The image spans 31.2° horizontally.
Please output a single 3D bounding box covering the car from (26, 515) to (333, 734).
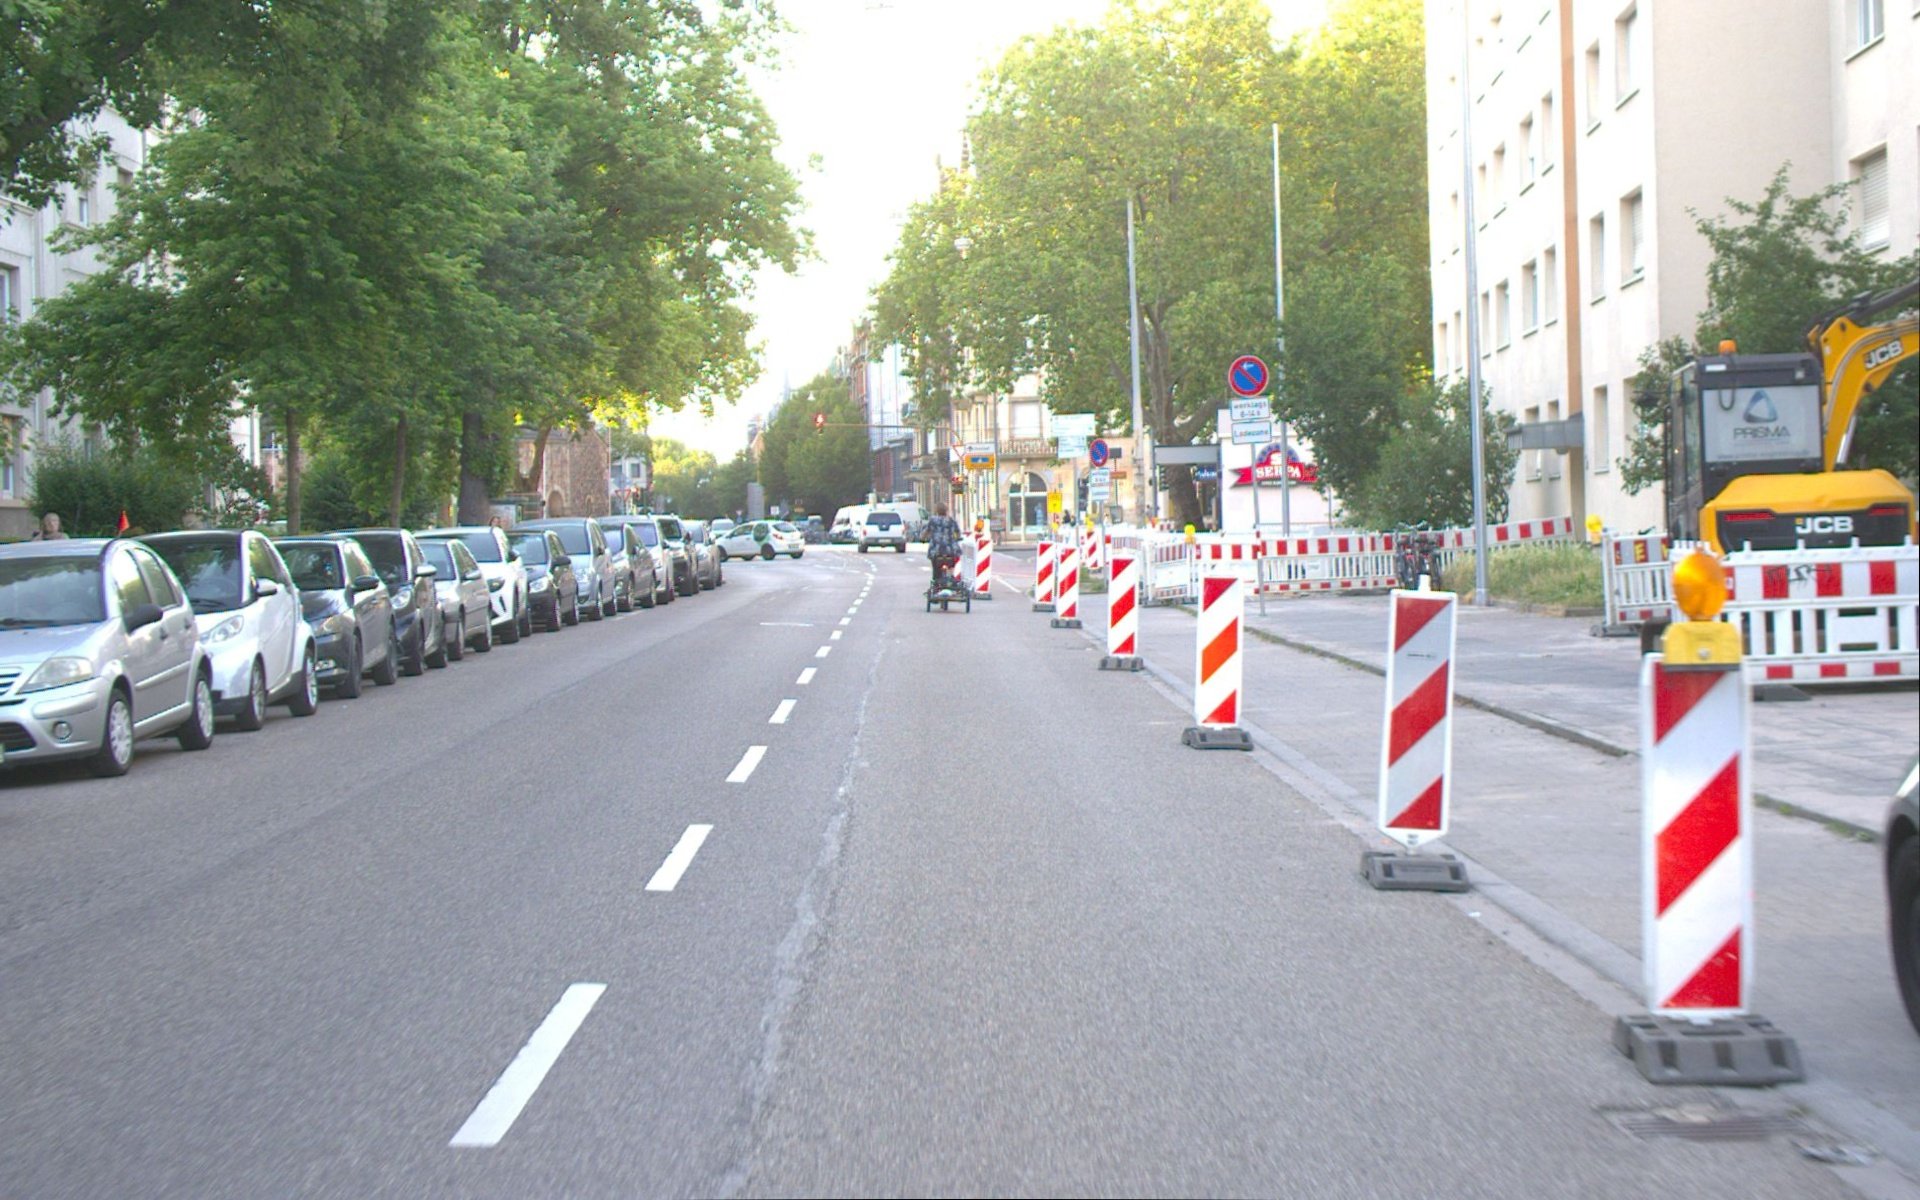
[{"bbox_3d":[-6.086,0.151,27.107,1.590,1.524,2.921,-4,1,1],"label":"car"}]

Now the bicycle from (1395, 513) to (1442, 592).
[{"bbox_3d":[7.258,-0.766,54.485,0.398,1.217,1.911,-1,1,-3],"label":"bicycle"}]

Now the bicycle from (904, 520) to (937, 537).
[{"bbox_3d":[-2.281,-4.172,199.758,1.914,0.965,0.546,-1,1,-2],"label":"bicycle"}]

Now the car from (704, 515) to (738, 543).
[{"bbox_3d":[-14.631,-4.333,210.402,1.781,1.645,3.822,0,1,-9],"label":"car"}]

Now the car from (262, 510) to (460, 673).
[{"bbox_3d":[-6.223,-0.119,35.978,1.523,1.524,3.165,-4,1,-2],"label":"car"}]

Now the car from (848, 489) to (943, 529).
[{"bbox_3d":[-3.835,-5.470,205.959,5.807,2.280,2.071,-2,2,-43],"label":"car"}]

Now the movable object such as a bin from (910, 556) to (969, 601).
[{"bbox_3d":[-0.336,-0.358,57.338,0.939,0.686,0.993,-4,1,1],"label":"movable object such as a bin"}]

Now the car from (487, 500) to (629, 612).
[{"bbox_3d":[-6.311,-0.718,54.303,1.707,1.595,4.117,-4,1,-1],"label":"car"}]

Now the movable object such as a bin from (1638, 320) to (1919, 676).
[{"bbox_3d":[6.634,-0.813,27.630,1.933,2.683,2.891,-1,1,4],"label":"movable object such as a bin"}]

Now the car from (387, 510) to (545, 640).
[{"bbox_3d":[-6.495,-0.356,45.531,1.590,1.533,4.207,-4,1,-3],"label":"car"}]

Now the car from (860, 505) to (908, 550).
[{"bbox_3d":[-3.191,-3.040,143.718,1.866,1.808,4.001,-2,1,-2],"label":"car"}]

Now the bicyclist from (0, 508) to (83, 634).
[{"bbox_3d":[-10.384,-0.332,38.644,0.808,1.399,0.974,0,1,-1],"label":"bicyclist"}]

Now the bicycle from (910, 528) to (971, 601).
[{"bbox_3d":[-0.318,-0.625,59.011,0.939,1.168,2.359,-4,1,1],"label":"bicycle"}]

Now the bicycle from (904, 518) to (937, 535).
[{"bbox_3d":[-2.308,-4.283,199.559,1.914,0.965,0.546,-1,1,-2],"label":"bicycle"}]

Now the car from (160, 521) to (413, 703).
[{"bbox_3d":[-6.133,0.055,31.708,1.590,1.461,4.103,-4,1,-2],"label":"car"}]

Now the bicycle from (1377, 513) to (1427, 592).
[{"bbox_3d":[6.984,-0.766,54.393,0.451,1.217,1.911,-1,1,-3],"label":"bicycle"}]

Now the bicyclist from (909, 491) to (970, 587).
[{"bbox_3d":[-0.345,-1.052,59.024,0.939,1.576,1.146,-4,1,1],"label":"bicyclist"}]

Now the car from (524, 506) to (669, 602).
[{"bbox_3d":[-6.211,-0.817,59.145,1.733,1.492,4.270,-3,1,4],"label":"car"}]

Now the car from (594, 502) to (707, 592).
[{"bbox_3d":[-6.434,-1.132,71.857,1.953,1.713,4.772,-3,1,-1],"label":"car"}]

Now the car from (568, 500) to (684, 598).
[{"bbox_3d":[-6.232,-0.979,64.604,1.846,1.685,4.860,-3,1,-2],"label":"car"}]

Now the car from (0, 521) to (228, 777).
[{"bbox_3d":[-6.035,0.288,22.607,1.590,1.500,3.800,-4,1,-1],"label":"car"}]

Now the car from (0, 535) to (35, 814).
[{"bbox_3d":[-5.869,0.482,16.370,1.692,1.454,4.484,-4,1,-1],"label":"car"}]

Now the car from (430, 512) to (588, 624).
[{"bbox_3d":[-6.509,-0.489,49.925,1.707,1.447,3.843,-4,1,0],"label":"car"}]

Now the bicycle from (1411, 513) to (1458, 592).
[{"bbox_3d":[7.510,-0.763,54.419,0.398,1.217,1.826,-1,1,-3],"label":"bicycle"}]

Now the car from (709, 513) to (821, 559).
[{"bbox_3d":[-7.365,-2.418,129.685,3.996,1.580,1.868,-1,2,40],"label":"car"}]

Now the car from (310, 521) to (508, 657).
[{"bbox_3d":[-6.374,-0.168,40.126,1.590,1.399,4.181,-4,1,-1],"label":"car"}]

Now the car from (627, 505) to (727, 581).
[{"bbox_3d":[-6.525,-1.337,79.695,1.953,1.611,4.606,-3,1,-1],"label":"car"}]

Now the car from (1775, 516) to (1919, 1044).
[{"bbox_3d":[3.597,0.484,8.793,1.776,1.485,4.574,-5,1,-1],"label":"car"}]
